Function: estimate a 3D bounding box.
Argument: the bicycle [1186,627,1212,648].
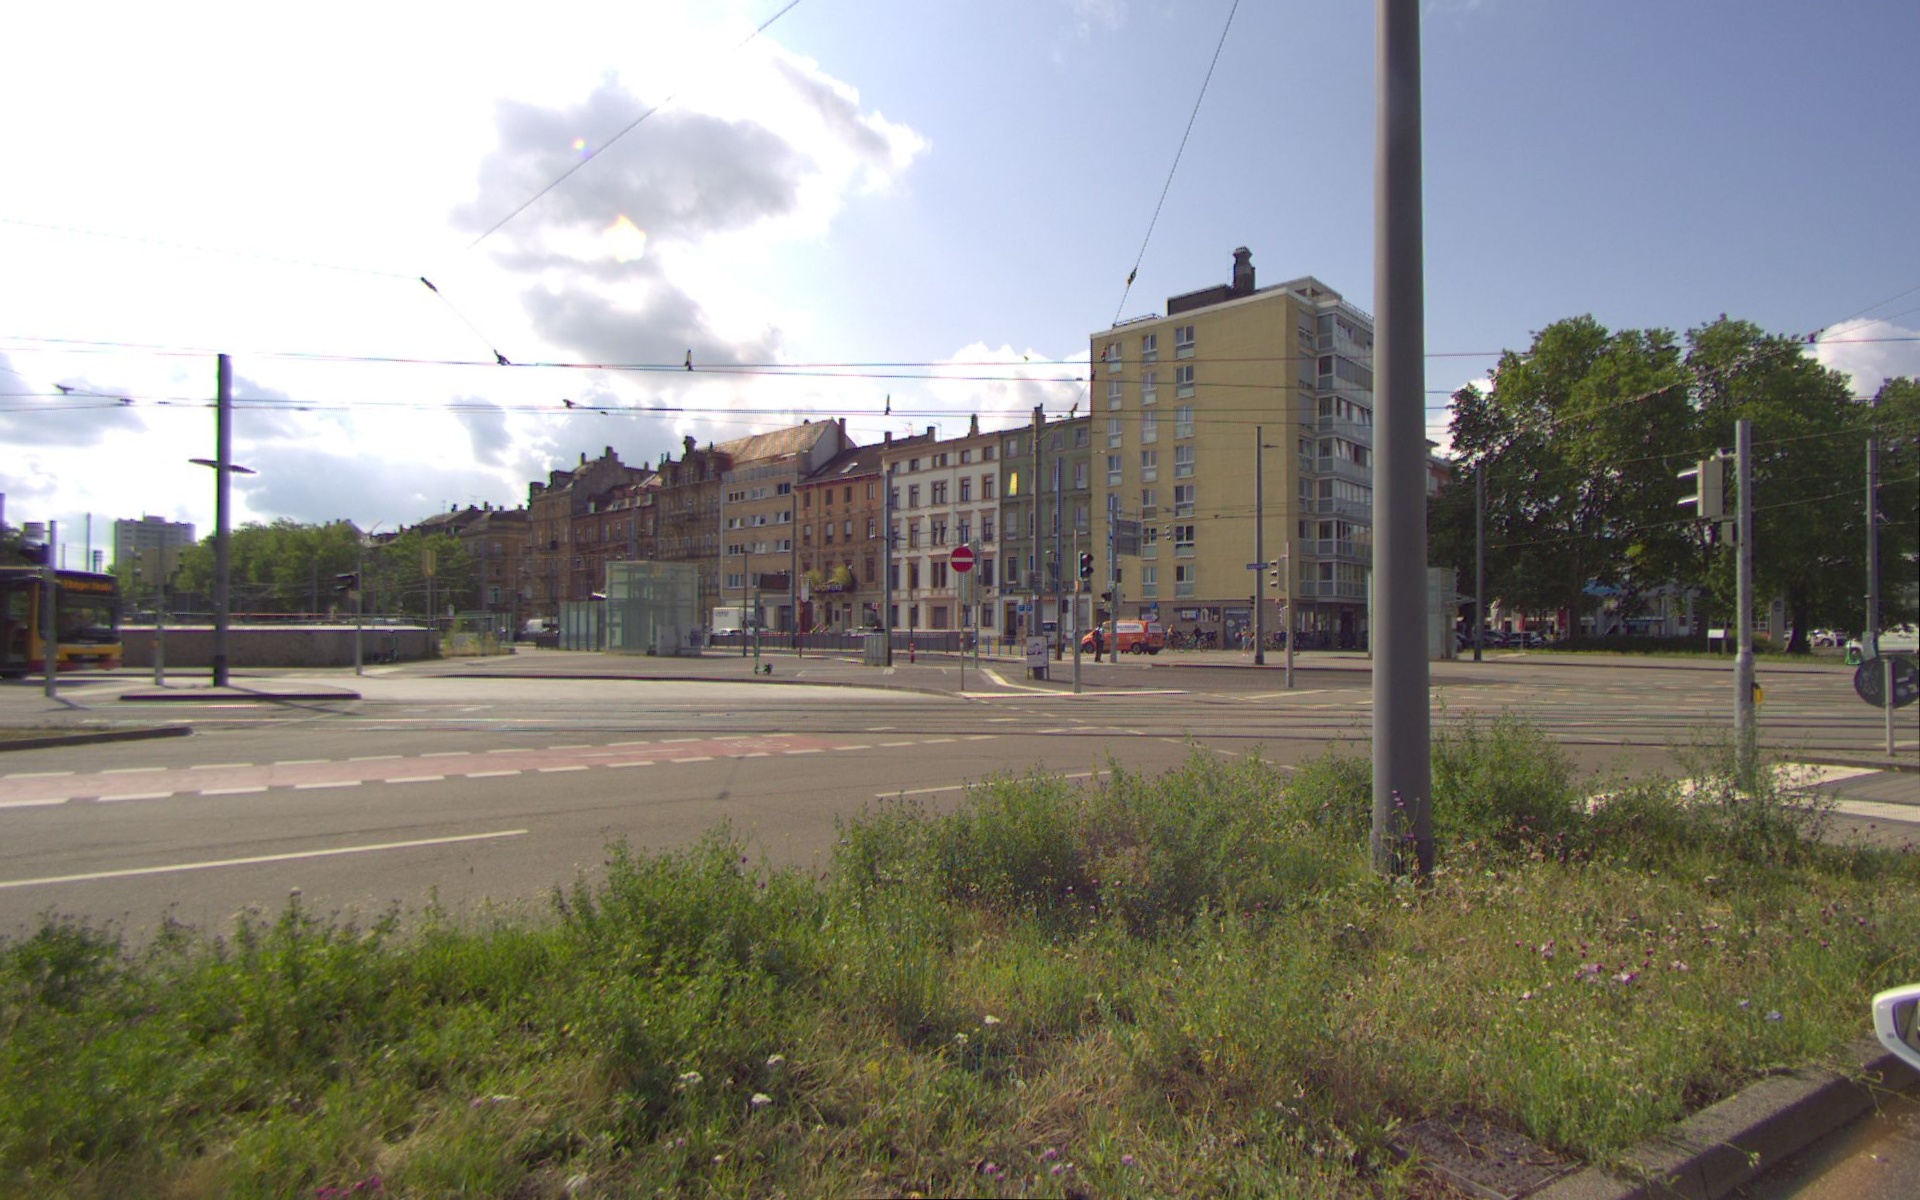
[{"bbox_3d":[16.100,2.515,67.762,1.622,1.217,0.485,6,2,43],"label":"bicycle"}]

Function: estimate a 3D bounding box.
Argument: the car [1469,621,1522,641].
[{"bbox_3d":[44.362,2.565,83.233,1.654,1.615,3.573,1,-2,-43],"label":"car"}]

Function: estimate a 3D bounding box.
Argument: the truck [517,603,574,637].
[{"bbox_3d":[-45.414,2.120,109.896,7.197,3.330,3.160,3,2,45],"label":"truck"}]

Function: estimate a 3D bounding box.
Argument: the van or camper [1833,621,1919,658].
[{"bbox_3d":[68.658,2.874,74.171,2.361,2.502,5.858,2,0,-25],"label":"van or camper"}]

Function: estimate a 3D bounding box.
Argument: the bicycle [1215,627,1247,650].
[{"bbox_3d":[17.673,2.512,65.537,1.859,1.289,0.486,6,5,36],"label":"bicycle"}]

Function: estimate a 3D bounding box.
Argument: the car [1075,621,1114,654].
[{"bbox_3d":[8.431,2.323,63.172,1.853,1.488,5.063,3,4,2],"label":"car"}]

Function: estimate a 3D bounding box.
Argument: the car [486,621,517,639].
[{"bbox_3d":[-49.462,3.195,108.354,3.945,1.684,1.765,3,1,45],"label":"car"}]

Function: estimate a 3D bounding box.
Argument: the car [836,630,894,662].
[{"bbox_3d":[-6.765,3.253,71.415,3.945,2.040,1.988,2,0,44],"label":"car"}]

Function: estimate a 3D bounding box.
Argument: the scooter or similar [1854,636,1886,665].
[{"bbox_3d":[39.490,2.203,43.586,0.911,1.173,0.381,3,4,5],"label":"scooter or similar"}]

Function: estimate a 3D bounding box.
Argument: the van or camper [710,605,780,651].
[{"bbox_3d":[-19.928,2.520,92.754,2.703,3.376,7.536,-1,6,-45],"label":"van or camper"}]

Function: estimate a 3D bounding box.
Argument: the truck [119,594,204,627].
[{"bbox_3d":[-93.224,1.297,117.403,2.431,3.696,7.422,-1,-2,36],"label":"truck"}]

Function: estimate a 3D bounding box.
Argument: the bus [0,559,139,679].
[{"bbox_3d":[-25.430,0.473,25.318,6.964,2.871,2.699,0,-1,-4],"label":"bus"}]

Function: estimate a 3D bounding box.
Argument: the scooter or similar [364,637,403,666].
[{"bbox_3d":[-20.567,1.829,35.863,0.464,0.962,1.664,0,-1,-1],"label":"scooter or similar"}]

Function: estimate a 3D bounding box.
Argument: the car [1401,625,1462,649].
[{"bbox_3d":[33.872,2.611,72.173,3.524,1.550,1.989,2,0,43],"label":"car"}]

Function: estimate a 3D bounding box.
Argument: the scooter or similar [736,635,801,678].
[{"bbox_3d":[-5.855,1.703,30.656,1.330,1.205,1.475,2,0,-44],"label":"scooter or similar"}]

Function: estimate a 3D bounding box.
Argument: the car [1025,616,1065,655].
[{"bbox_3d":[5.602,2.315,66.447,2.039,2.113,4.897,3,2,-1],"label":"car"}]

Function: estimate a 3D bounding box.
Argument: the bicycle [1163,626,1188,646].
[{"bbox_3d":[14.820,2.482,69.060,1.622,1.217,0.485,6,2,43],"label":"bicycle"}]

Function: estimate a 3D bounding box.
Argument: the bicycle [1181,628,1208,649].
[{"bbox_3d":[15.723,2.575,67.364,1.622,1.217,0.546,6,2,43],"label":"bicycle"}]

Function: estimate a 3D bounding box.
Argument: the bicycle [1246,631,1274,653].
[{"bbox_3d":[19.349,2.704,64.782,1.622,1.289,0.485,6,2,43],"label":"bicycle"}]

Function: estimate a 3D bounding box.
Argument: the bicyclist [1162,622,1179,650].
[{"bbox_3d":[13.450,2.296,64.097,0.707,1.768,0.817,1,-2,-43],"label":"bicyclist"}]

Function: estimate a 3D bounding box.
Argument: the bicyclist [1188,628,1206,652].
[{"bbox_3d":[15.164,2.558,64.249,0.822,1.517,0.784,-1,-2,45],"label":"bicyclist"}]

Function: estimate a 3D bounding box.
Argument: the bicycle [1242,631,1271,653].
[{"bbox_3d":[18.981,2.691,64.393,1.622,1.289,0.528,6,2,43],"label":"bicycle"}]

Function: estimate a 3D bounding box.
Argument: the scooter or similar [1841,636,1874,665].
[{"bbox_3d":[39.477,2.206,44.180,0.911,1.173,0.381,4,4,16],"label":"scooter or similar"}]

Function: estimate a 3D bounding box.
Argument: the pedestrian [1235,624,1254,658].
[{"bbox_3d":[15.713,2.270,55.453,0.771,1.782,0.995,3,-1,22],"label":"pedestrian"}]

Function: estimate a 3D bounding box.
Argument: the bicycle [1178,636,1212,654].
[{"bbox_3d":[15.048,2.877,64.337,0.784,1.142,1.965,1,-2,-45],"label":"bicycle"}]

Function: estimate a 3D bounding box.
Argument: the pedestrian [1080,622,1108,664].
[{"bbox_3d":[5.823,1.865,43.673,0.783,1.696,0.840,6,6,42],"label":"pedestrian"}]

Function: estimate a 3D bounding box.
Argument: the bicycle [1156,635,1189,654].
[{"bbox_3d":[13.538,2.830,63.969,0.784,1.142,1.965,1,-2,-45],"label":"bicycle"}]

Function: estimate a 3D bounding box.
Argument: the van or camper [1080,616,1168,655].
[{"bbox_3d":[9.130,1.951,56.174,4.454,1.940,2.006,1,0,40],"label":"van or camper"}]
